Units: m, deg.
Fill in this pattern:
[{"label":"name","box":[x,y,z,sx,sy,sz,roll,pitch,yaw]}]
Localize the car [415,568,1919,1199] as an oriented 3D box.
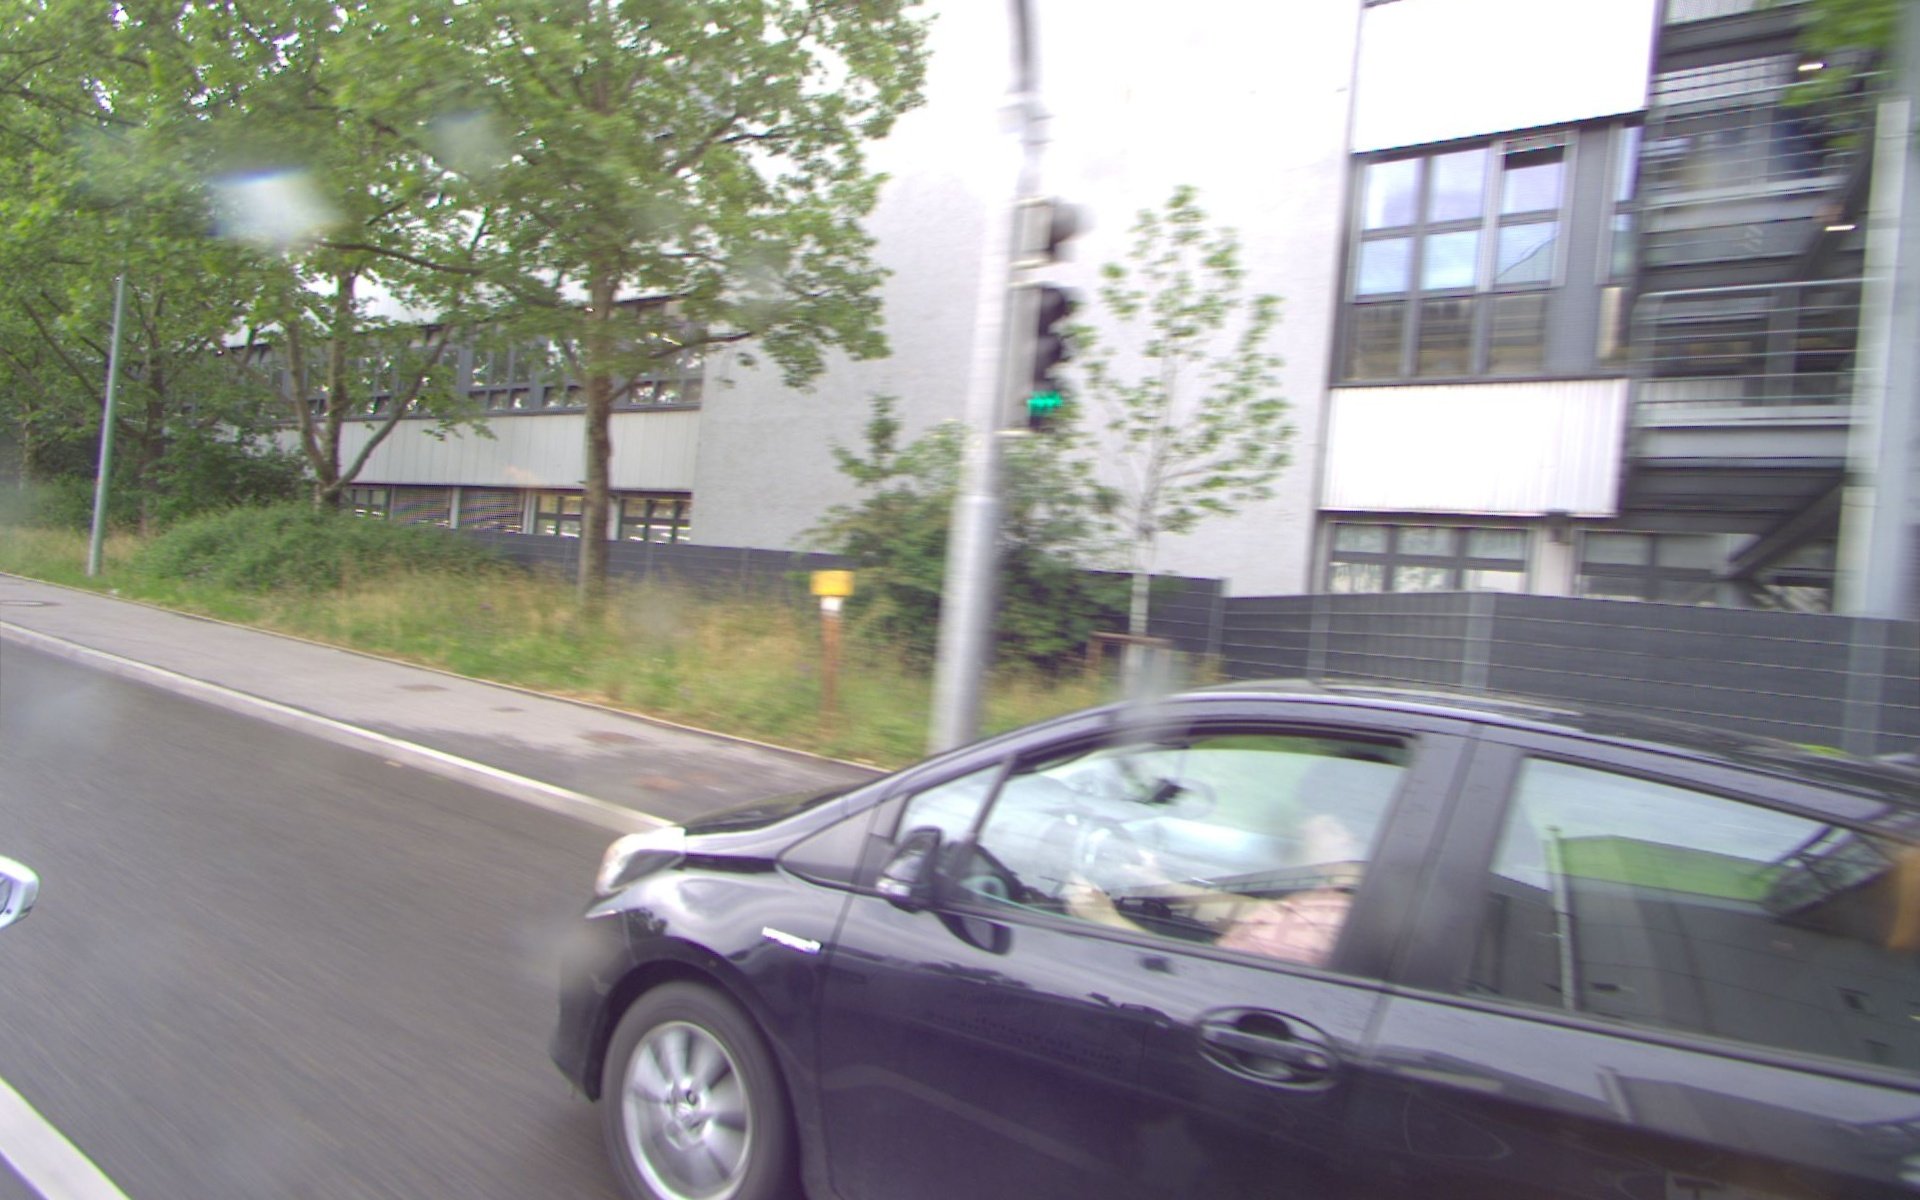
[{"label":"car","box":[0.935,0.926,2.410,4.563,1.487,1.748,6,-1,31]}]
